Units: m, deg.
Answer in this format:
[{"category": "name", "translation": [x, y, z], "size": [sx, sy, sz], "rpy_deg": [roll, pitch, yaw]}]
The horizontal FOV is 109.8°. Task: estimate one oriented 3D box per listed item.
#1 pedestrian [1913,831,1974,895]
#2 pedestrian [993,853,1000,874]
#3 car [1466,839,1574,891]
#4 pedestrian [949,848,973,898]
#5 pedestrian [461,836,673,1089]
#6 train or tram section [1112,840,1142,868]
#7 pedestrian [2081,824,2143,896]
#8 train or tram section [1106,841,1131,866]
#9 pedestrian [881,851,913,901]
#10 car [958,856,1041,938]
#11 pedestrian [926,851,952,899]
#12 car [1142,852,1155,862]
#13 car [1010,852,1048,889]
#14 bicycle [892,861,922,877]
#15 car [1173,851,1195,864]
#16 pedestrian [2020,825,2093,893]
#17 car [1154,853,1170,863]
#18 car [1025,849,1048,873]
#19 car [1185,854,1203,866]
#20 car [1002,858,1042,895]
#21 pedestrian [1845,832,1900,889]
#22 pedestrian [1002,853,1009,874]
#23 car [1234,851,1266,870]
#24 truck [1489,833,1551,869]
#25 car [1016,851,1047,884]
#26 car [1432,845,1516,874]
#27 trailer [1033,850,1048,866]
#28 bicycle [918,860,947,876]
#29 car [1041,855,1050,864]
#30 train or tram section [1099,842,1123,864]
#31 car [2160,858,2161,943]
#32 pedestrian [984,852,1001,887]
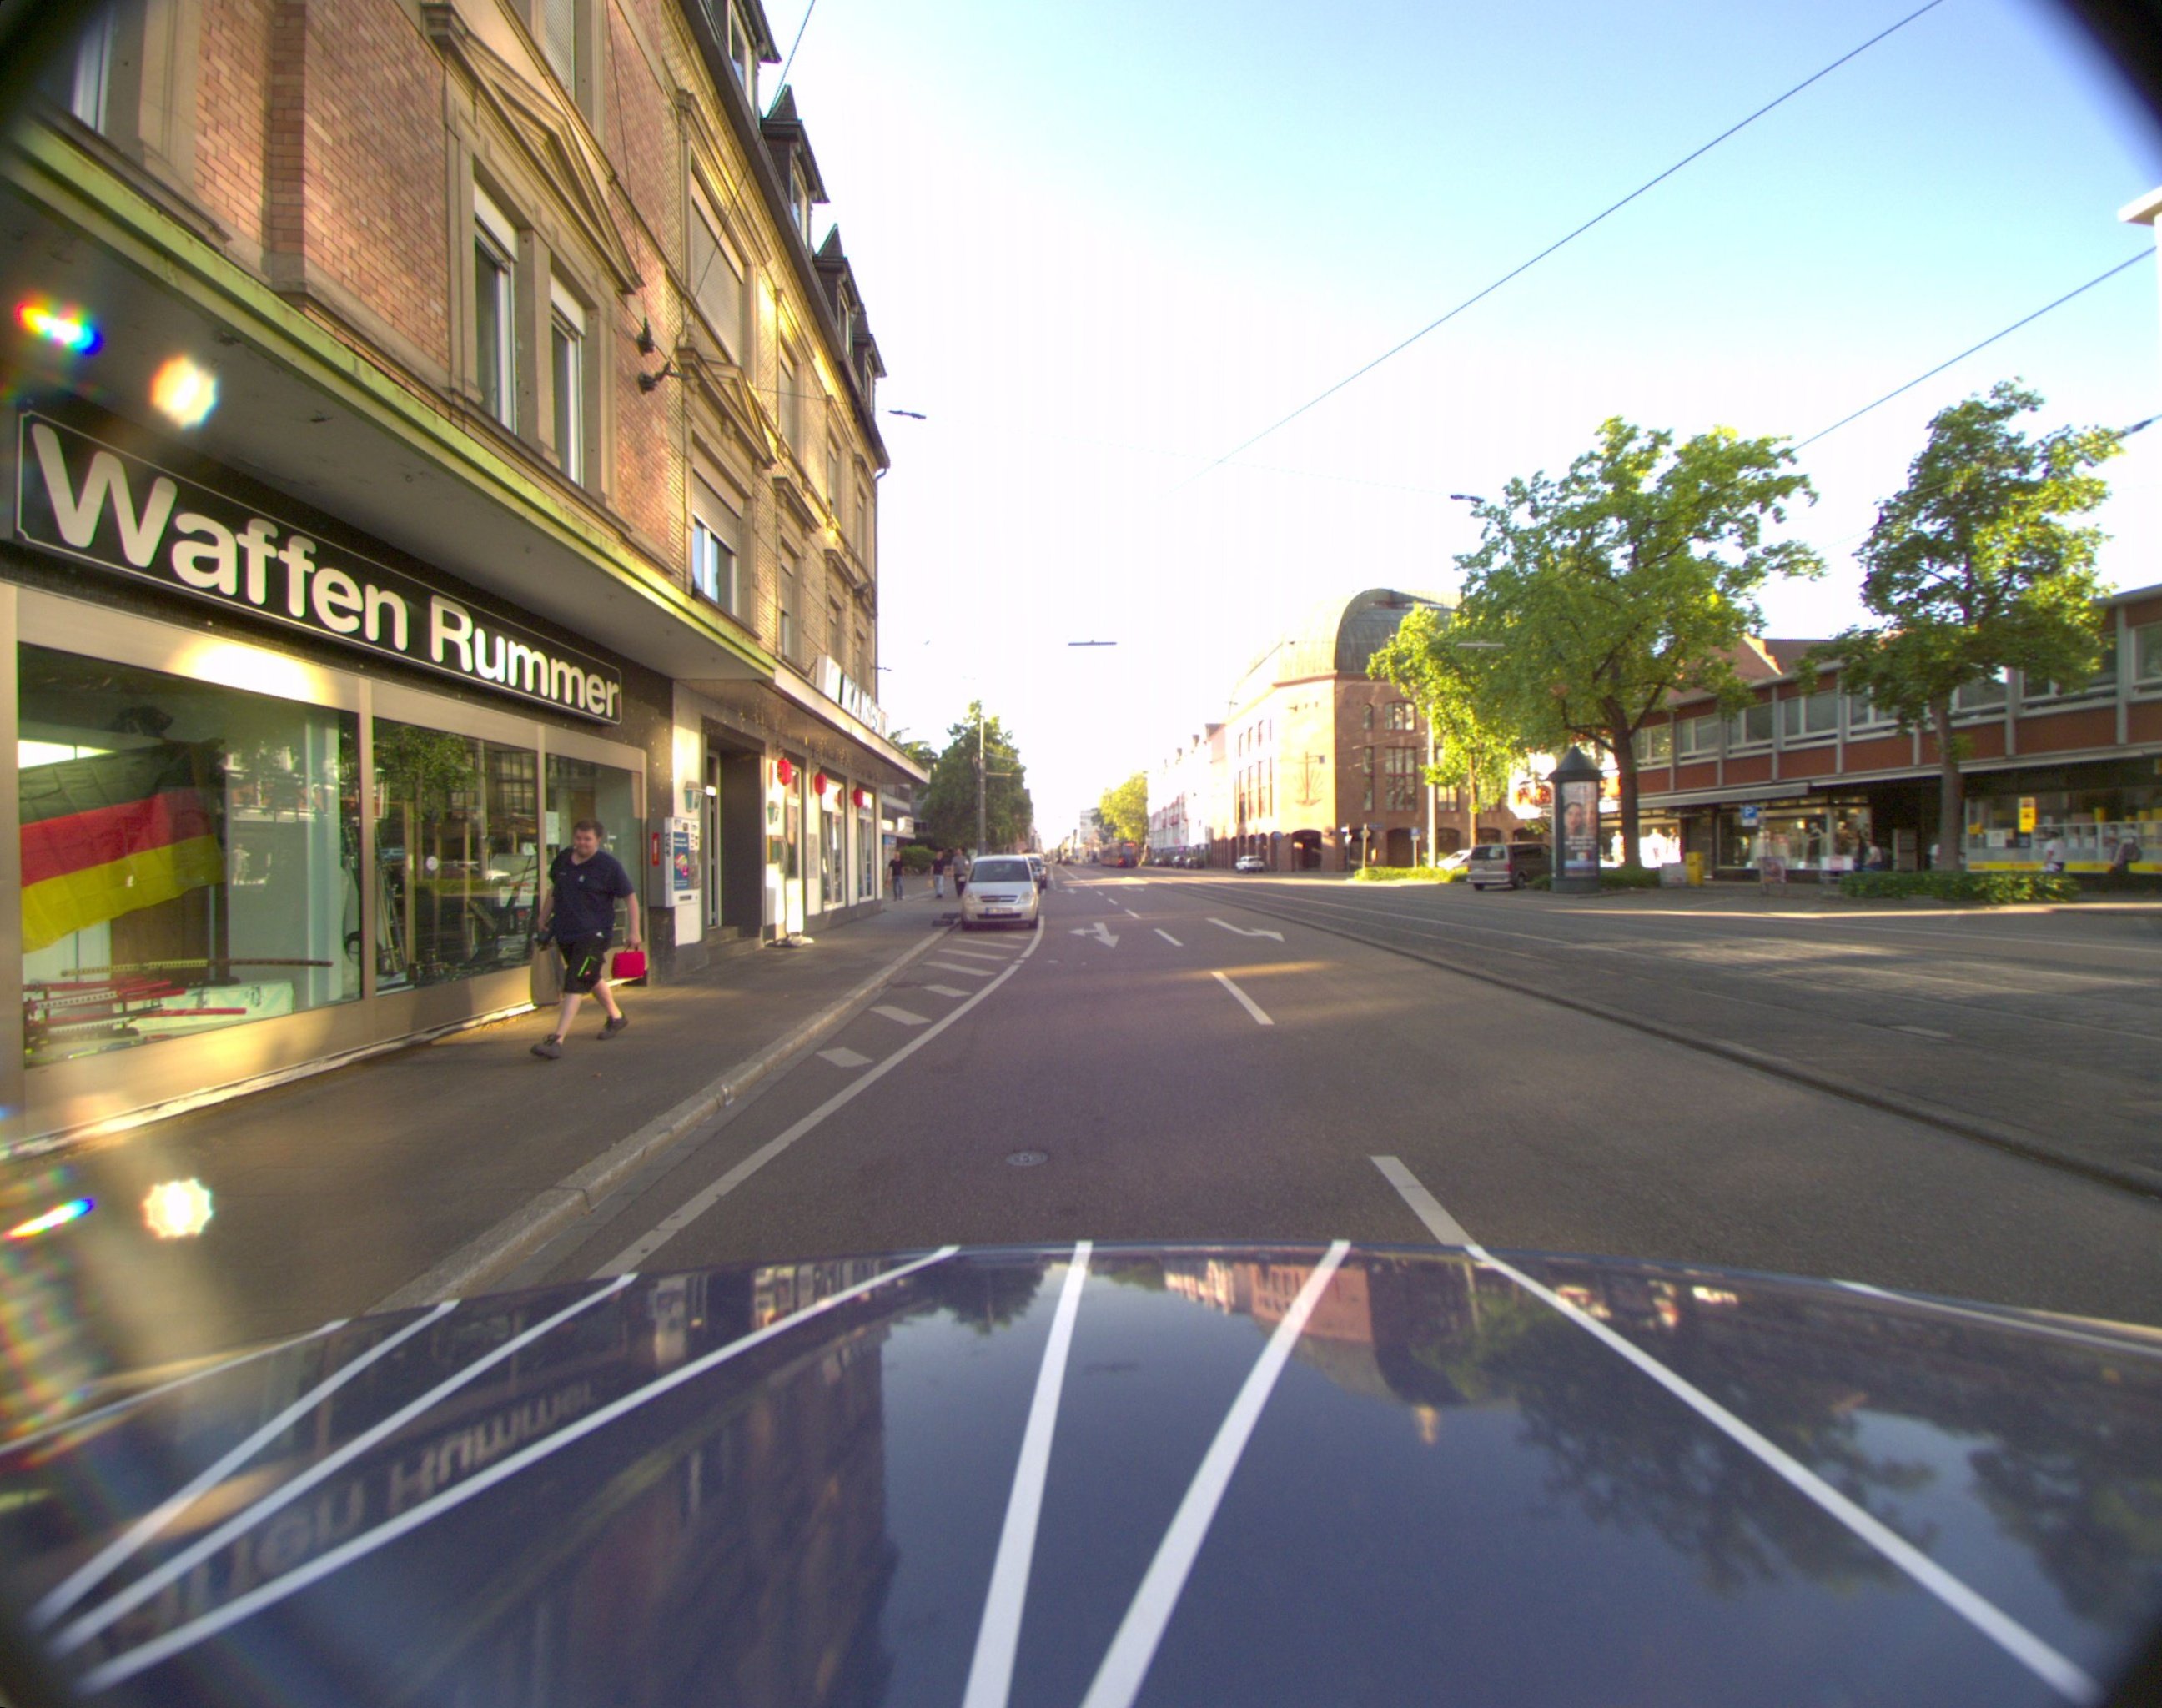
[{"category": "pedestrian", "translation": [25.756, 0.252, 22.712], "size": [0.917, 1.867, 0.902], "rpy_deg": [0, 1, 26]}, {"category": "pedestrian", "translation": [-6.845, 0.743, 61.656], "size": [0.494, 1.703, 0.437], "rpy_deg": [2, 1, -3]}, {"category": "car", "translation": [18.637, 0.415, 32.198], "size": [5.130, 1.918, 1.849], "rpy_deg": [-3, 2, -34]}, {"category": "pedestrian", "translation": [-4.555, 0.711, 28.983], "size": [0.796, 1.888, 1.032], "rpy_deg": [0, 1, -3]}, {"category": "pedestrian", "translation": [-3.906, 0.768, 5.892], "size": [0.949, 1.782, 1.054], "rpy_deg": [0, 1, -3]}, {"category": "train or tram section", "translation": [5.912, -0.028, 100.115], "size": [2.683, 3.530, 12.837], "rpy_deg": [0, 0, -3]}, {"category": "pedestrian", "translation": [27.741, 0.152, 20.446], "size": [0.921, 1.867, 0.898], "rpy_deg": [-1, 1, -31]}, {"category": "train or tram section", "translation": [5.403, -0.113, 112.088], "size": [2.683, 3.530, 11.123], "rpy_deg": [0, 0, -3]}, {"category": "pedestrian", "translation": [-6.501, 0.776, 26.886], "size": [0.903, 1.703, 1.032], "rpy_deg": [2, 0, -3]}, {"category": "car", "translation": [-1.778, 0.884, 17.464], "size": [1.642, 1.605, 3.943], "rpy_deg": [-1, 0, -4]}, {"category": "pedestrian", "translation": [-5.328, 0.776, 28.557], "size": [0.813, 1.746, 1.032], "rpy_deg": [0, 1, -3]}, {"category": "car", "translation": [12.259, 0.458, 138.488], "size": [1.931, 1.787, 4.383], "rpy_deg": [-1, 0, 1]}, {"category": "car", "translation": [-2.657, 0.793, 39.867], "size": [1.825, 1.747, 4.473], "rpy_deg": [-2, 1, -3]}, {"category": "bicycle", "translation": [-11.907, 1.014, 52.033], "size": [2.020, 1.089, 0.637], "rpy_deg": [1, 0, -9]}, {"category": "car", "translation": [14.001, 0.476, 103.544], "size": [1.964, 1.690, 4.559], "rpy_deg": [-2, 0, -4]}, {"category": "pedestrian", "translation": [28.162, 0.141, 21.947], "size": [0.996, 1.937, 0.900], "rpy_deg": [-1, 1, -5]}, {"category": "car", "translation": [13.083, 0.621, 122.576], "size": [1.829, 1.500, 4.559], "rpy_deg": [-2, 0, -2]}, {"category": "car", "translation": [-4.003, 0.621, 69.247], "size": [1.882, 2.009, 4.904], "rpy_deg": [-2, 0, -2]}, {"category": "car", "translation": [14.309, 0.740, 96.612], "size": [1.646, 1.392, 3.682], "rpy_deg": [-2, 0, -2]}, {"category": "car", "translation": [-2.644, 0.982, 34.611], "size": [1.642, 1.484, 3.793], "rpy_deg": [-3, 0, -4]}, {"category": "pedestrian", "translation": [26.530, 0.221, 25.471], "size": [0.919, 1.867, 0.900], "rpy_deg": [-1, 1, -5]}, {"category": "pedestrian", "translation": [-6.154, 0.773, 61.636], "size": [0.494, 1.703, 0.437], "rpy_deg": [2, 1, -3]}, {"category": "car", "translation": [15.545, 0.560, 70.025], "size": [1.600, 1.581, 4.276], "rpy_deg": [-3, 0, -4]}, {"category": "truck", "translation": [34.464, -0.225, 59.817], "size": [1.856, 2.747, 4.528], "rpy_deg": [-1, 0, -7]}, {"category": "car", "translation": [-2.884, 0.749, 44.585], "size": [1.680, 1.797, 4.247], "rpy_deg": [-2, 0, -3]}, {"category": "car", "translation": [28.568, 0.361, 55.353], "size": [4.993, 1.957, 2.130], "rpy_deg": [-1, 3, -4]}, {"category": "trailer", "translation": [-5.449, 0.527, 102.994], "size": [1.784, 2.136, 5.315], "rpy_deg": [-2, 0, 0]}, {"category": "bicycle", "translation": [-10.371, 1.003, 53.046], "size": [1.886, 1.090, 0.469], "rpy_deg": [0, 1, -4]}, {"category": "car", "translation": [-5.789, 0.870, 124.232], "size": [1.420, 1.425, 3.871], "rpy_deg": [-2, 0, -3]}, {"category": "train or tram section", "translation": [4.807, -0.193, 123.904], "size": [2.766, 3.530, 12.463], "rpy_deg": [0, 0, -3]}, {"category": "car", "translation": [20.657, 0.715, 13.375], "size": [4.276, 1.421, 1.762], "rpy_deg": [-3, 1, -33]}, {"category": "pedestrian", "translation": [-4.486, 0.779, 38.471], "size": [0.789, 1.728, 0.945], "rpy_deg": [-1, 1, -3]}]
